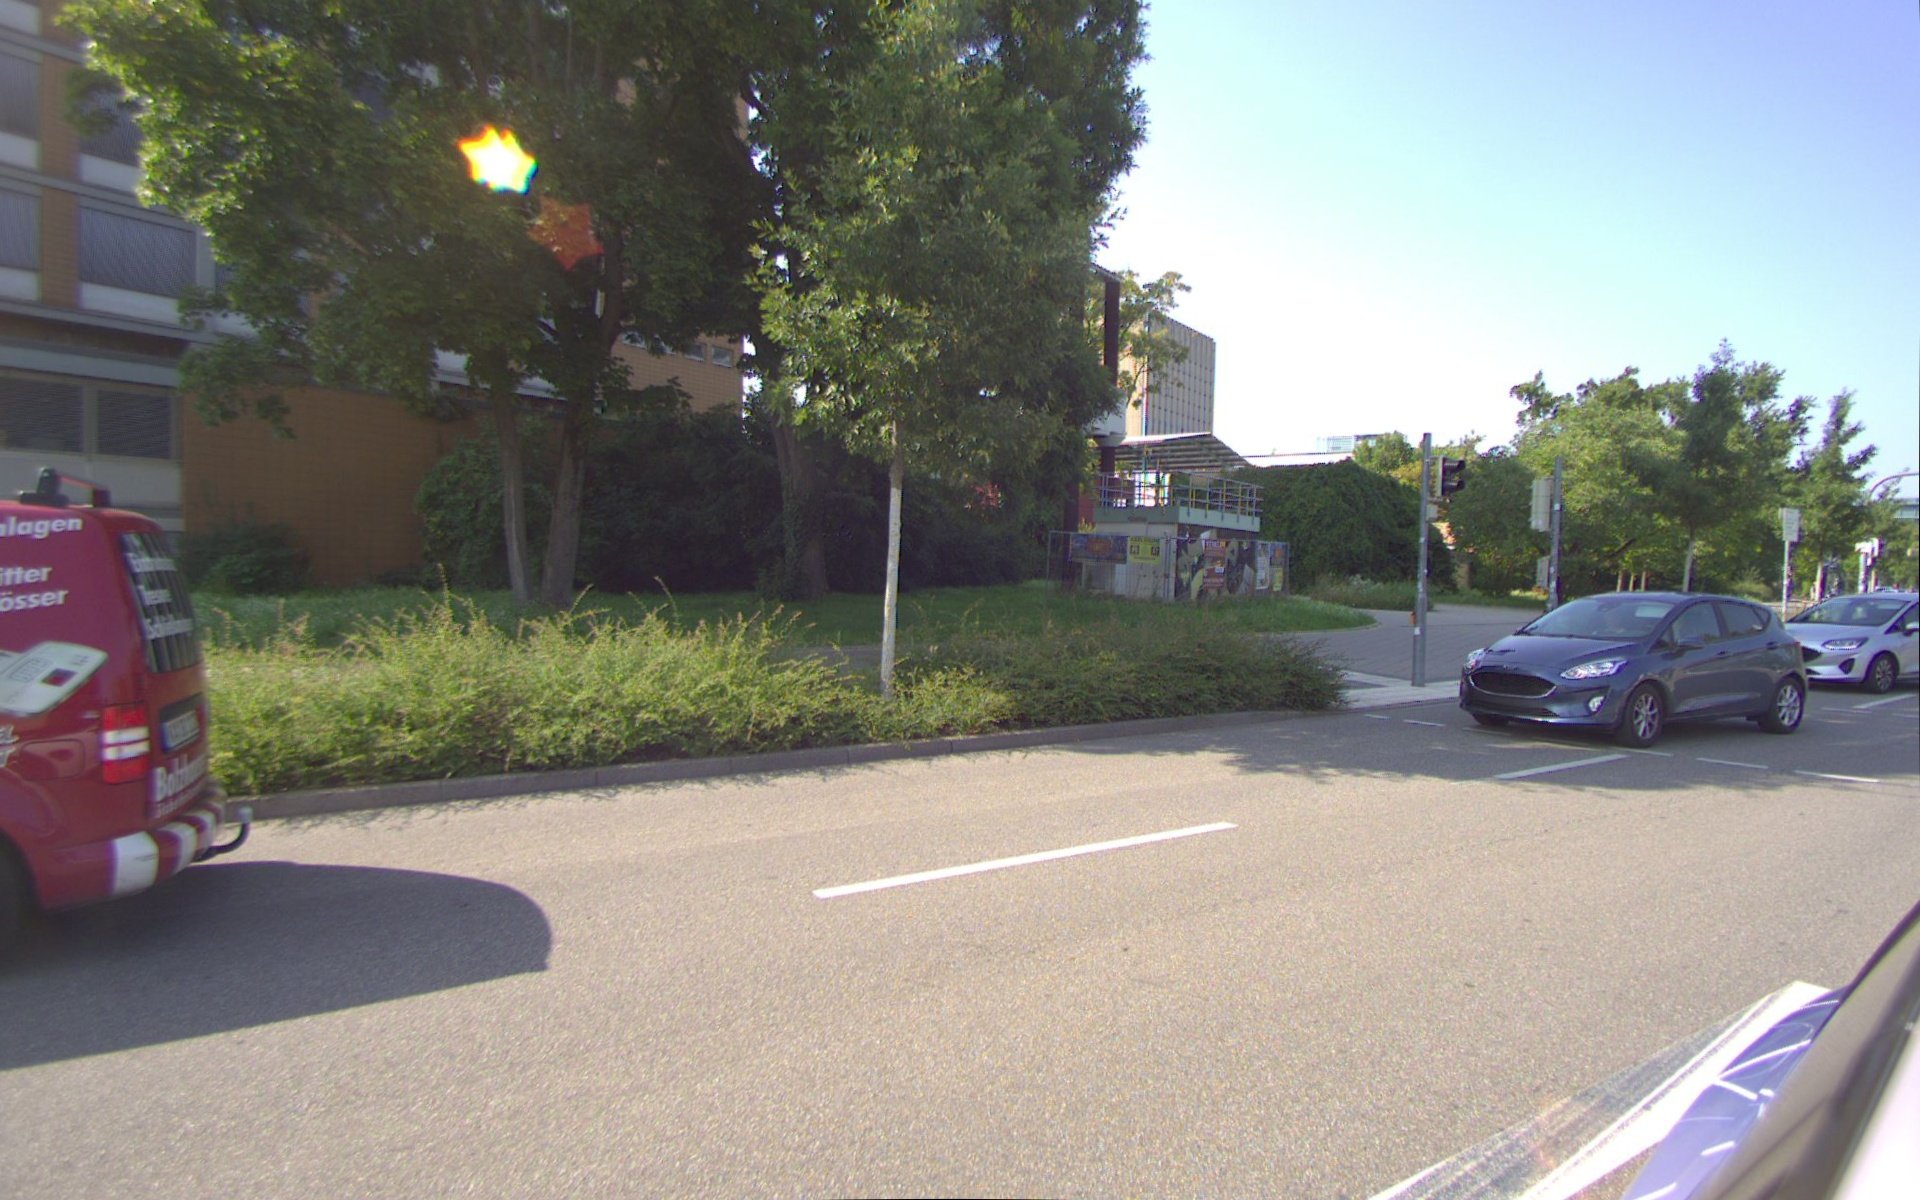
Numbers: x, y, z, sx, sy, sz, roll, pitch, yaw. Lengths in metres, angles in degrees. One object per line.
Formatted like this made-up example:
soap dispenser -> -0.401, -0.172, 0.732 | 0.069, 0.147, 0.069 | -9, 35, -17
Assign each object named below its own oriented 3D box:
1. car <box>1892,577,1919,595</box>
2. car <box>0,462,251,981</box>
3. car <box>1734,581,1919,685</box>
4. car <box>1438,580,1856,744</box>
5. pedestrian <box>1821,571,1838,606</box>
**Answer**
car -> 97.359, -1.441, 104.145 | 1.824, 1.704, 3.942 | 3, 3, 40
car -> -5.143, 0.416, 3.569 | 4.192, 1.842, 1.740 | 0, 1, -31
car -> 14.305, 0.476, 15.589 | 3.779, 1.451, 1.725 | 1, 1, -13
car -> 7.193, 0.539, 10.557 | 4.232, 1.445, 1.644 | 0, 1, -25
pedestrian -> 46.942, -0.612, 54.638 | 0.621, 1.868, 0.632 | 3, 2, 41
